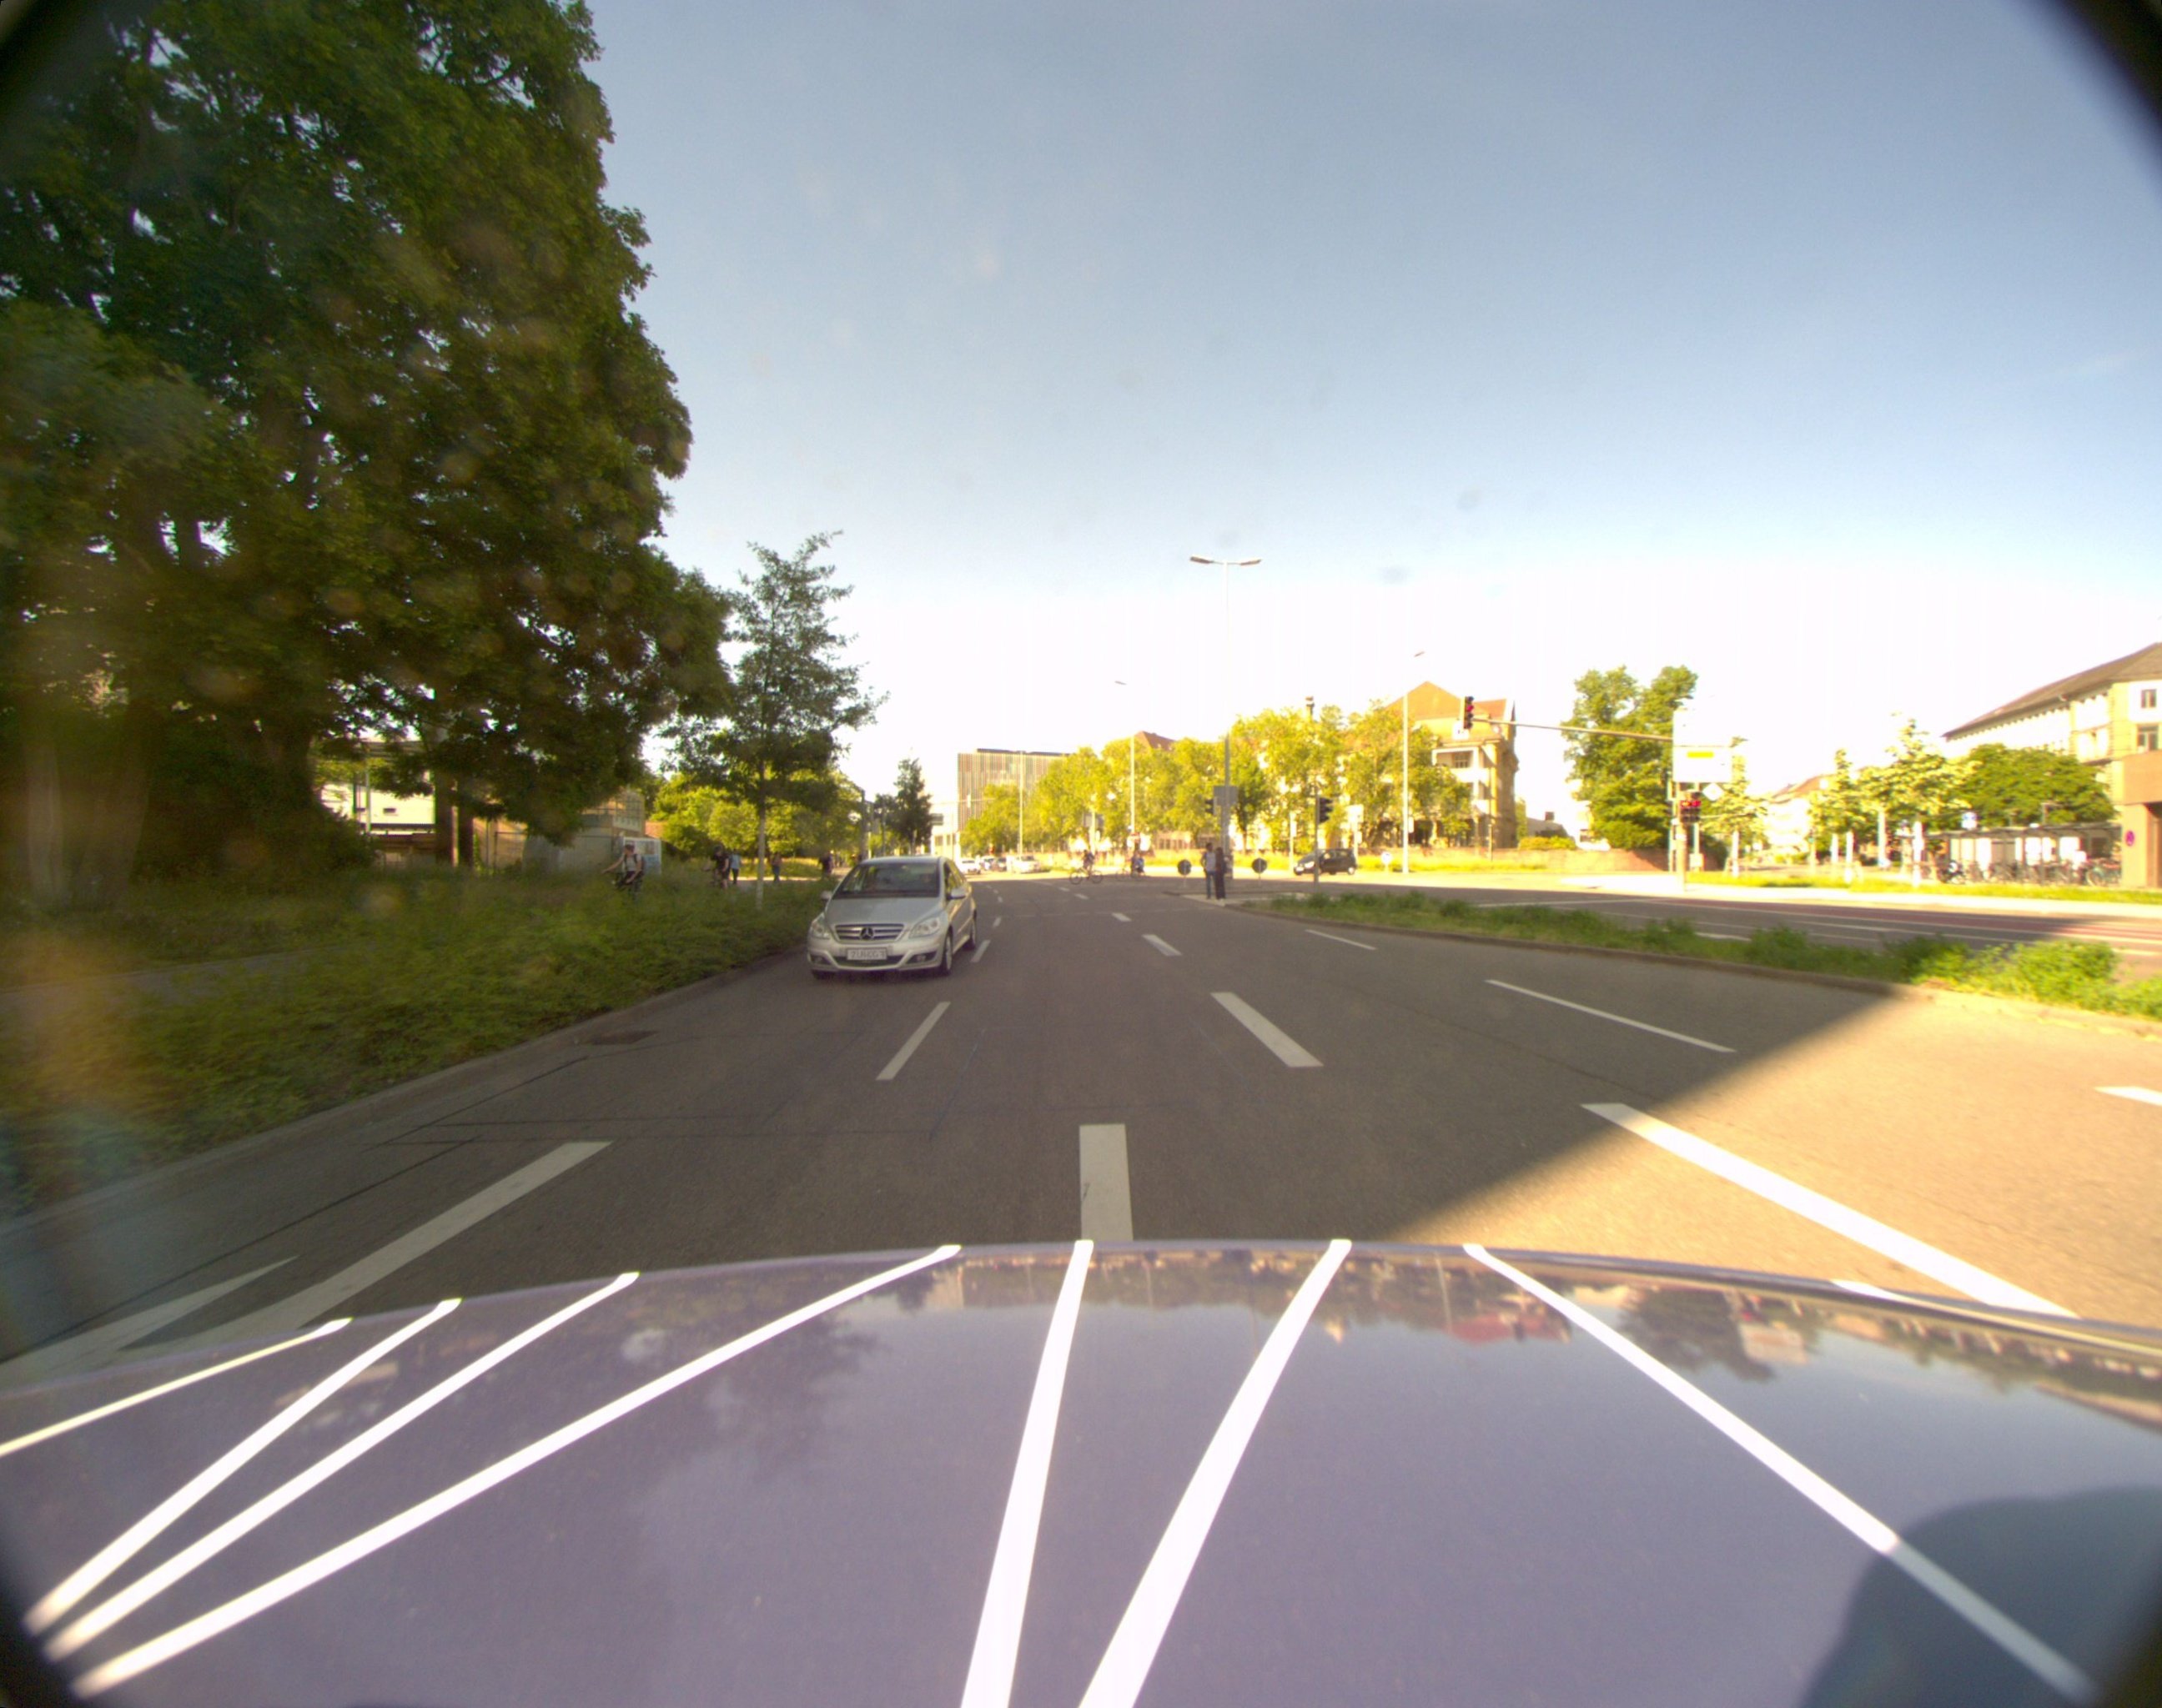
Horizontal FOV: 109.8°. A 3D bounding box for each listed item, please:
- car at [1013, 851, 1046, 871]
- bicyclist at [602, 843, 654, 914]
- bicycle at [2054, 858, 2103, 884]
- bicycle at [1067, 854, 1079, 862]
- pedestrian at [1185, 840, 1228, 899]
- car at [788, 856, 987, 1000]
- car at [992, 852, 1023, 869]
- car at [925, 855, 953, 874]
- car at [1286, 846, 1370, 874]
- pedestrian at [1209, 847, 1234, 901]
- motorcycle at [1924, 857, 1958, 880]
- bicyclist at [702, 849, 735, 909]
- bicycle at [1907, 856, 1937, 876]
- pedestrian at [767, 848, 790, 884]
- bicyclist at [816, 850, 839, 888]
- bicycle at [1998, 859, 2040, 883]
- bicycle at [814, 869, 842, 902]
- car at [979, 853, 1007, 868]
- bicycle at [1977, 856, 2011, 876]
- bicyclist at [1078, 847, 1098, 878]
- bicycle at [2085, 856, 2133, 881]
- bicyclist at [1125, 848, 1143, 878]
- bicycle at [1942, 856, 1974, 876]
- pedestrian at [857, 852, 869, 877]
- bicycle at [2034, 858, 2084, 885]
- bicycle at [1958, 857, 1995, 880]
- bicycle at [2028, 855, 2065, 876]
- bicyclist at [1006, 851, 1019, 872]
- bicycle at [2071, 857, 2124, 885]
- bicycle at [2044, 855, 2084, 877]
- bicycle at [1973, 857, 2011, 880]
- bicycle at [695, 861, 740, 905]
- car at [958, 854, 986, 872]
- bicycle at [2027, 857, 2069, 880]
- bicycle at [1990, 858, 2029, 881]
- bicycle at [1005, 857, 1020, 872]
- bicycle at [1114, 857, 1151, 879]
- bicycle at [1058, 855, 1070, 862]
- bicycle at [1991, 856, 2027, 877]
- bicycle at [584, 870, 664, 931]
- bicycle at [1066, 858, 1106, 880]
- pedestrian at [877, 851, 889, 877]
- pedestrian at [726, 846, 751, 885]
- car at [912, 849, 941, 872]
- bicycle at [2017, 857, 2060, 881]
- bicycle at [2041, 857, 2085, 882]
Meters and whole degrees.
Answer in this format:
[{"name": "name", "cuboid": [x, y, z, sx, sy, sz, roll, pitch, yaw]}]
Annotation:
[{"name": "car", "cuboid": [-4.495, 0.569, 65.279, 1.791, 1.615, 4.309, -2, 0, -18]}, {"name": "bicyclist", "cuboid": [-9.521, 0.502, 15.992, 0.643, 1.436, 0.776, 1, 1, -4]}, {"name": "bicycle", "cuboid": [41.431, 0.688, 31.586, 0.566, 1.032, 1.791, 1, 2, 30]}, {"name": "bicycle", "cuboid": [-1.204, 0.655, 118.900, 0.797, 1.069, 2.080, 0, -2, -37]}, {"name": "pedestrian", "cuboid": [3.992, 0.492, 24.193, 1.097, 1.822, 0.754, -2, 1, -30]}, {"name": "car", "cuboid": [-2.606, 0.898, 11.430, 1.771, 1.585, 4.637, -1, 1, 0]}, {"name": "car", "cuboid": [-7.235, 0.652, 74.007, 1.985, 1.545, 4.716, -2, 0, -18]}, {"name": "car", "cuboid": [-11.678, 0.858, 62.362, 1.706, 1.433, 3.994, -2, 0, -18]}, {"name": "car", "cuboid": [14.168, 0.349, 43.637, 4.303, 1.464, 1.997, 0, -2, -23]}, {"name": "pedestrian", "cuboid": [4.226, 0.595, 22.834, 0.681, 1.603, 0.720, -1, 1, 12]}, {"name": "motorcycle", "cuboid": [41.316, 0.686, 36.532, 0.593, 1.112, 1.989, 0, 0, 34]}, {"name": "bicyclist", "cuboid": [-10.057, 0.682, 21.096, 0.643, 1.635, 0.776, 0, 0, -10]}, {"name": "bicycle", "cuboid": [46.472, 0.634, 42.019, 0.566, 1.032, 1.791, 1, 2, 30]}, {"name": "pedestrian", "cuboid": [-13.671, 0.549, 34.355, 0.734, 1.633, 0.679, -2, -2, 36]}, {"name": "bicyclist", "cuboid": [-9.774, 0.573, 29.339, 0.643, 1.436, 0.952, -1, 0, -8]}, {"name": "bicycle", "cuboid": [43.000, 0.756, 34.848, 0.566, 1.032, 1.791, 1, 2, 30]}, {"name": "bicycle", "cuboid": [-9.754, 1.197, 29.320, 0.643, 1.158, 1.869, -2, 0, -8]}, {"name": "car", "cuboid": [-9.456, 0.687, 81.188, 1.985, 1.545, 4.716, -2, 0, -18]}, {"name": "bicycle", "cuboid": [48.835, 0.616, 40.667, 0.566, 1.032, 1.791, 1, 2, 30]}, {"name": "bicyclist", "cuboid": [0.361, 0.449, 40.040, 0.777, 1.653, 0.784, -1, 0, -22]}, {"name": "bicycle", "cuboid": [45.316, 0.633, 33.519, 0.566, 1.032, 1.791, 1, 2, 30]}, {"name": "bicyclist", "cuboid": [2.927, 0.489, 41.971, 0.777, 1.653, 0.642, -1, 0, -22]}, {"name": "bicycle", "cuboid": [47.688, 0.624, 41.316, 0.566, 1.032, 1.791, 1, 2, 30]}, {"name": "pedestrian", "cuboid": [-15.582, 0.767, 54.309, 0.731, 1.771, 0.736, -1, -2, -5]}, {"name": "bicycle", "cuboid": [39.430, 0.681, 30.660, 0.566, 1.032, 1.791, 1, 2, 30]}, {"name": "bicycle", "cuboid": [43.353, 0.674, 36.800, 0.566, 1.032, 1.791, 1, 2, 30]}, {"name": "bicycle", "cuboid": [50.497, 0.613, 39.755, 0.566, 1.032, 1.791, 1, 2, 30]}, {"name": "bicyclist", "cuboid": [-5.478, 0.570, 60.604, 0.747, 1.675, 0.976, 0, 2, -20]}, {"name": "bicycle", "cuboid": [40.158, 0.653, 30.030, 0.566, 1.032, 1.791, 1, 2, 30]}, {"name": "bicycle", "cuboid": [49.172, 0.568, 38.041, 0.566, 1.032, 1.791, 1, 2, 30]}, {"name": "bicycle", "cuboid": [43.966, 0.696, 36.698, 0.566, 1.032, 1.791, 1, 2, 30]}, {"name": "bicycle", "cuboid": [-10.070, 0.772, 21.121, 0.643, 1.158, 1.868, 0, 0, -10]}, {"name": "car", "cuboid": [-9.479, 0.742, 65.598, 2.001, 1.460, 3.995, -1, 0, -14]}, {"name": "bicycle", "cuboid": [45.646, 0.669, 35.876, 0.566, 1.032, 1.791, 1, 2, 30]}, {"name": "bicycle", "cuboid": [44.486, 0.710, 36.433, 0.566, 1.032, 1.791, 1, 2, 30]}, {"name": "bicycle", "cuboid": [-5.504, 0.834, 60.705, 0.749, 1.158, 1.866, 0, 1, -20]}, {"name": "bicycle", "cuboid": [2.845, 0.769, 41.939, 1.970, 1.158, 0.642, 0, -1, -22]}, {"name": "bicycle", "cuboid": [-2.661, 0.747, 120.729, 0.797, 1.069, 2.080, 0, -2, -37]}, {"name": "bicycle", "cuboid": [47.560, 0.620, 38.955, 0.566, 1.032, 1.791, 1, 2, 30]}, {"name": "bicycle", "cuboid": [-9.534, 0.944, 15.948, 0.643, 1.158, 1.869, 1, 0, -4]}, {"name": "bicycle", "cuboid": [0.258, 0.777, 39.984, 1.970, 1.158, 0.777, 0, -1, -22]}, {"name": "pedestrian", "cuboid": [-14.152, 0.720, 54.274, 0.731, 1.805, 0.736, -1, -2, -5]}, {"name": "pedestrian", "cuboid": [-14.617, 0.514, 32.437, 0.734, 1.633, 0.679, -2, -2, 40]}, {"name": "car", "cuboid": [-13.980, 0.606, 68.678, 1.940, 1.941, 4.750, -2, 0, -18]}, {"name": "bicycle", "cuboid": [43.525, 0.674, 34.550, 0.566, 1.032, 1.791, 1, 2, 30]}, {"name": "bicycle", "cuboid": [44.181, 0.685, 34.204, 0.566, 1.032, 1.791, 1, 2, 30]}]
